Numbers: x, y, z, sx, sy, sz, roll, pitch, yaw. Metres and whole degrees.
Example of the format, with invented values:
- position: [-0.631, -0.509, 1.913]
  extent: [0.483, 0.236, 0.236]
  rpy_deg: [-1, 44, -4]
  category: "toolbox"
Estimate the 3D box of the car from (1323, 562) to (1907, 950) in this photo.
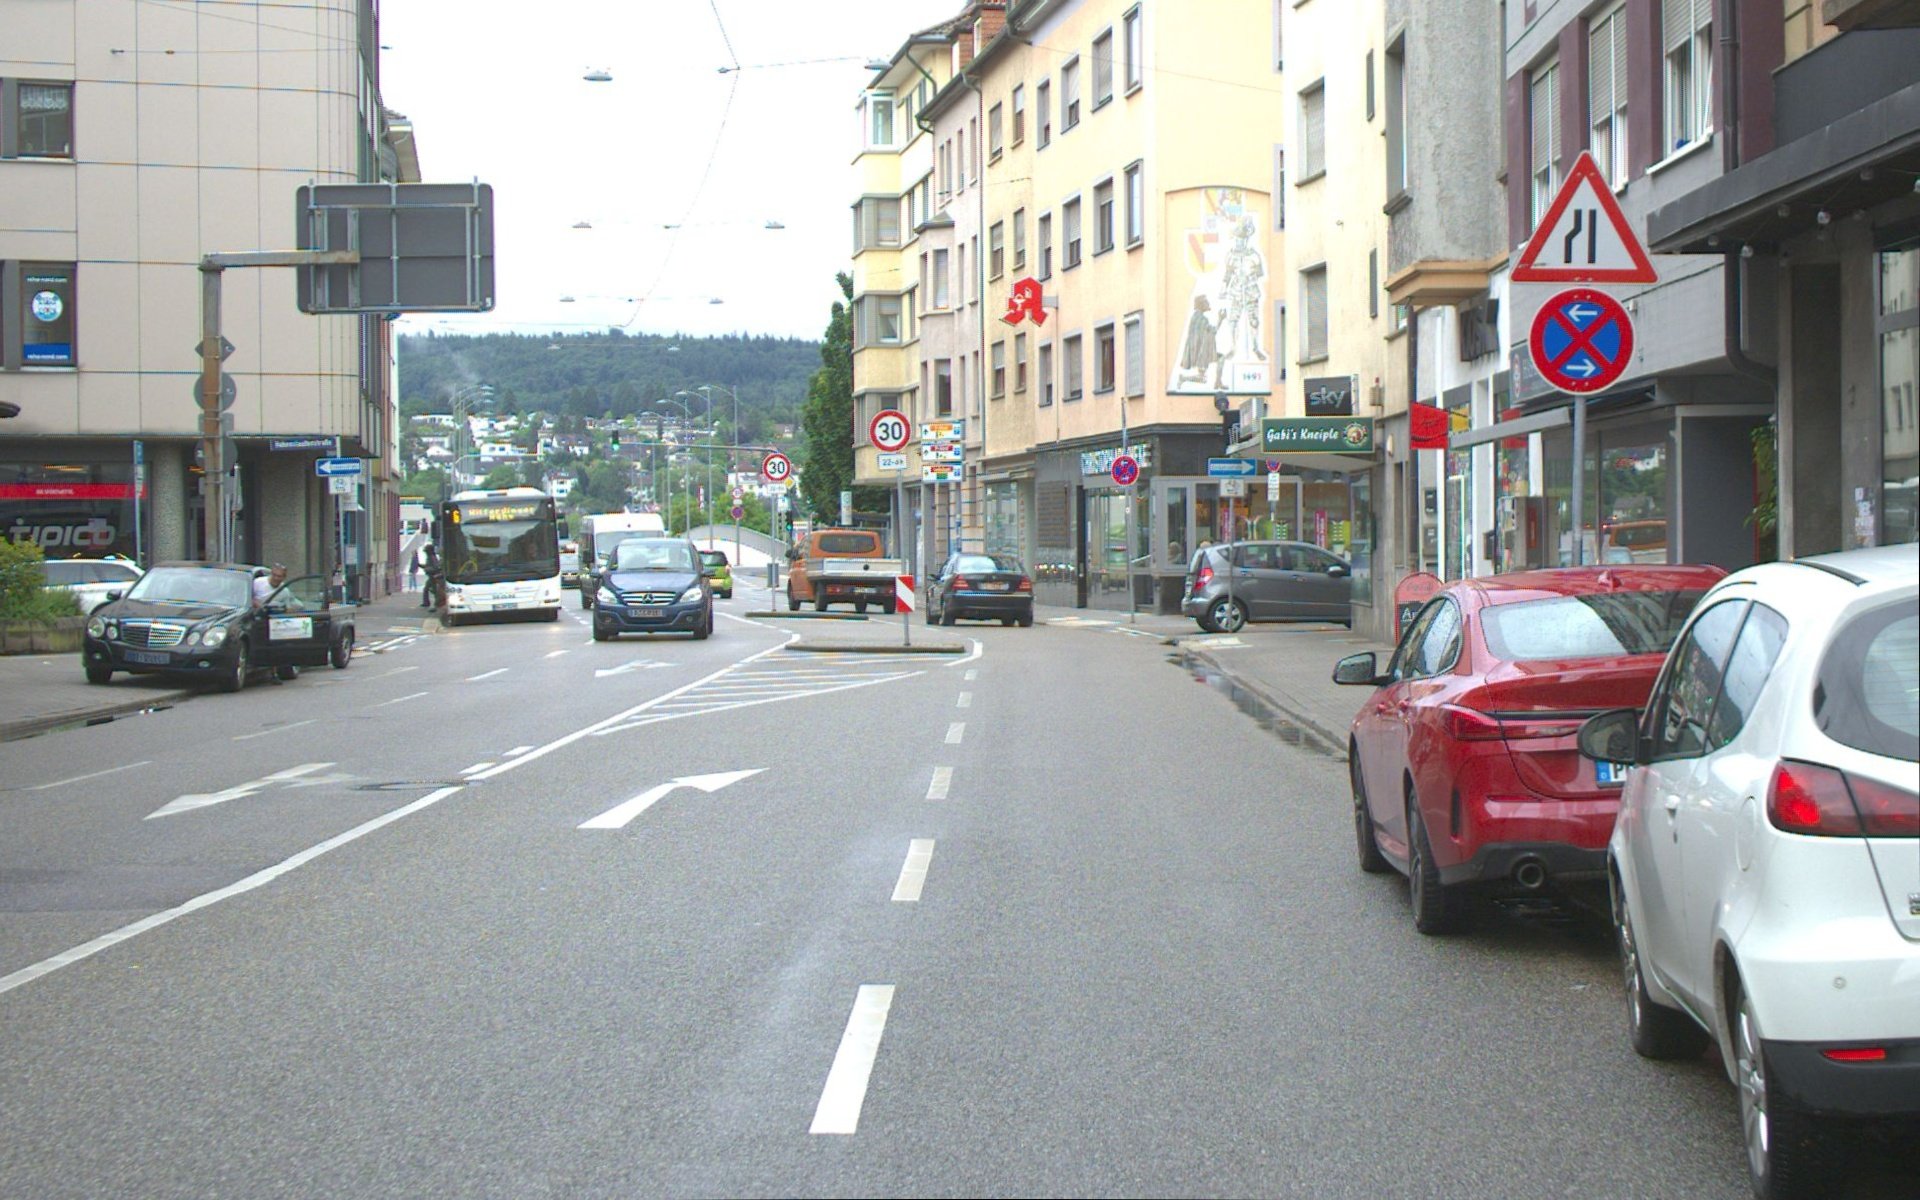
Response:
- position: [2.676, 0.560, 15.006]
  extent: [1.744, 1.364, 4.315]
  rpy_deg: [-1, 1, 1]
  category: "car"

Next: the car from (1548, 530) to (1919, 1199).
- position: [2.677, 0.565, 9.455]
  extent: [1.648, 1.489, 4.447]
  rpy_deg: [-1, 0, 4]
  category: "car"

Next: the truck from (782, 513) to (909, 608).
- position: [-2.738, -0.923, 80.950]
  extent: [2.399, 2.122, 5.316]
  rpy_deg: [-1, 0, -8]
  category: "truck"

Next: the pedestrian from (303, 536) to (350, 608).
- position: [-14.298, -0.632, 77.619]
  extent: [0.945, 1.584, 0.835]
  rpy_deg: [-1, 0, -5]
  category: "pedestrian"

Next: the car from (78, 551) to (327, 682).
- position: [-8.934, 0.151, 40.931]
  extent: [1.850, 1.393, 4.793]
  rpy_deg: [2, 1, 0]
  category: "car"

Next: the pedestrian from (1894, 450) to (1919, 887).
- position: [4.270, 0.275, 13.872]
  extent: [0.744, 1.773, 0.796]
  rpy_deg: [-1, 0, -1]
  category: "pedestrian"

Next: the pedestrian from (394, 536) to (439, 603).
- position: [-13.733, -0.774, 86.890]
  extent: [0.999, 1.678, 1.266]
  rpy_deg: [-1, 0, -6]
  category: "pedestrian"

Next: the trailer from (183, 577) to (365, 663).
- position: [-8.922, 0.241, 44.919]
  extent: [1.588, 0.946, 3.056]
  rpy_deg: [4, 1, 3]
  category: "trailer"

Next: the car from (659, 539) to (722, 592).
- position: [-8.618, -1.097, 109.626]
  extent: [1.754, 1.646, 4.001]
  rpy_deg: [-1, 0, -8]
  category: "car"

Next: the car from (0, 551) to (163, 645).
- position: [-16.026, -0.018, 58.086]
  extent: [4.628, 1.527, 1.906]
  rpy_deg: [-1, 0, -27]
  category: "car"

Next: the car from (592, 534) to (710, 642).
- position: [-5.010, -0.198, 55.311]
  extent: [1.754, 1.646, 4.308]
  rpy_deg: [-1, 0, -7]
  category: "car"

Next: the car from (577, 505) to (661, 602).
- position: [-9.011, -1.204, 90.826]
  extent: [2.086, 2.427, 6.354]
  rpy_deg: [-1, 0, -6]
  category: "car"

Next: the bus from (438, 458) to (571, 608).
- position: [-10.379, -1.475, 78.193]
  extent: [2.758, 3.177, 8.914]
  rpy_deg: [-1, 0, -8]
  category: "bus"

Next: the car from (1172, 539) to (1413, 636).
- position: [5.723, -0.218, 59.398]
  extent: [3.824, 1.568, 1.937]
  rpy_deg: [-1, 0, -5]
  category: "car"

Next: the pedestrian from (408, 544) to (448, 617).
- position: [-12.389, -0.450, 80.078]
  extent: [0.876, 1.686, 0.889]
  rpy_deg: [-1, 0, -10]
  category: "pedestrian"

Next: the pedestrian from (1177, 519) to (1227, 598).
- position: [4.796, -0.820, 68.182]
  extent: [0.768, 1.554, 0.876]
  rpy_deg: [-1, 0, -9]
  category: "pedestrian"

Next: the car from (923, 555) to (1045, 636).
- position: [0.431, -0.096, 65.374]
  extent: [1.754, 1.474, 4.001]
  rpy_deg: [-1, 0, -8]
  category: "car"
